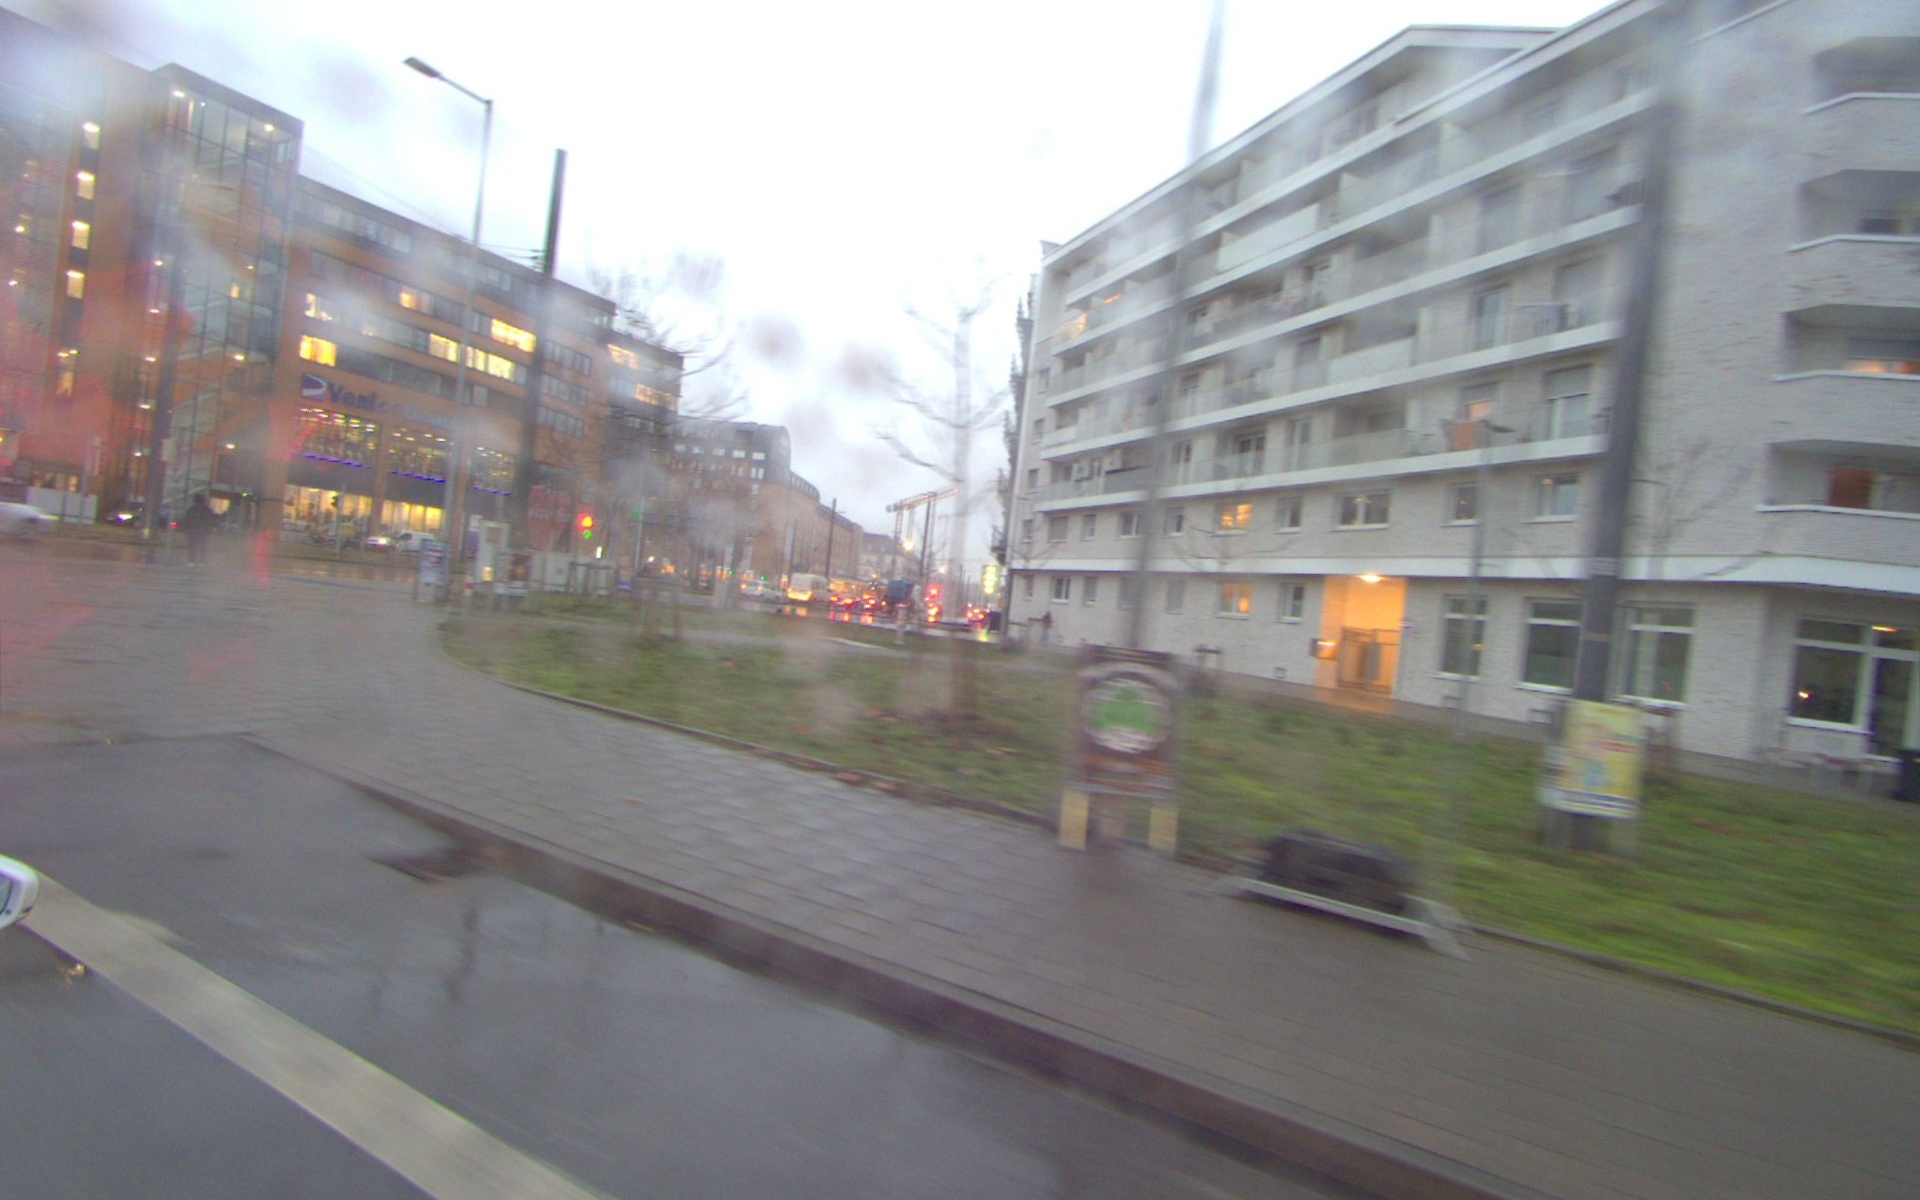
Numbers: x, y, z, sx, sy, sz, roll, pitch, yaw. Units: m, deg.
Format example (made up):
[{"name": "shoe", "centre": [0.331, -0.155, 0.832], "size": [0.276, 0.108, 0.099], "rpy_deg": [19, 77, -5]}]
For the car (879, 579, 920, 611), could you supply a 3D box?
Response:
[{"name": "car", "centre": [-6.284, -0.489, 106.017], "size": [2.318, 2.861, 6.363], "rpy_deg": [7, -1, 13]}]

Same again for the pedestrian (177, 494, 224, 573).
[{"name": "pedestrian", "centre": [-19.389, -1.700, 25.692], "size": [0.768, 1.901, 0.629], "rpy_deg": [6, 1, -34]}]

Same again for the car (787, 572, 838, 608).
[{"name": "car", "centre": [-12.099, -0.776, 83.099], "size": [1.962, 2.457, 5.978], "rpy_deg": [7, -1, 12]}]

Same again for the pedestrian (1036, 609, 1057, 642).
[{"name": "pedestrian", "centre": [4.487, 1.332, 52.230], "size": [0.623, 1.653, 0.719], "rpy_deg": [7, 1, 36]}]

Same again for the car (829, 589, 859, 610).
[{"name": "car", "centre": [-10.334, -0.050, 89.784], "size": [1.494, 1.538, 3.474], "rpy_deg": [7, -1, 12]}]

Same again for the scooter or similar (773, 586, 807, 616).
[{"name": "scooter or similar", "centre": [-7.937, 0.051, 46.987], "size": [0.658, 1.241, 1.556], "rpy_deg": [6, -2, 28]}]

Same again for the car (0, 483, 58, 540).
[{"name": "car", "centre": [-26.213, -2.514, 26.287], "size": [1.613, 1.377, 3.735], "rpy_deg": [7, 0, 6]}]

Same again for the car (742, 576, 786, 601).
[{"name": "car", "centre": [-14.519, -0.848, 74.712], "size": [1.613, 1.514, 3.686], "rpy_deg": [7, 0, 15]}]

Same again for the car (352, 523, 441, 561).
[{"name": "car", "centre": [-36.272, -3.707, 64.890], "size": [1.896, 1.740, 4.604], "rpy_deg": [7, 0, 28]}]

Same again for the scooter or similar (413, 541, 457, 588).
[{"name": "scooter or similar", "centre": [-14.726, -0.992, 28.263], "size": [0.327, 1.221, 1.309], "rpy_deg": [7, 0, 5]}]

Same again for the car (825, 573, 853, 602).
[{"name": "car", "centre": [-13.289, -1.318, 110.861], "size": [2.320, 2.861, 6.356], "rpy_deg": [7, -1, -3]}]
